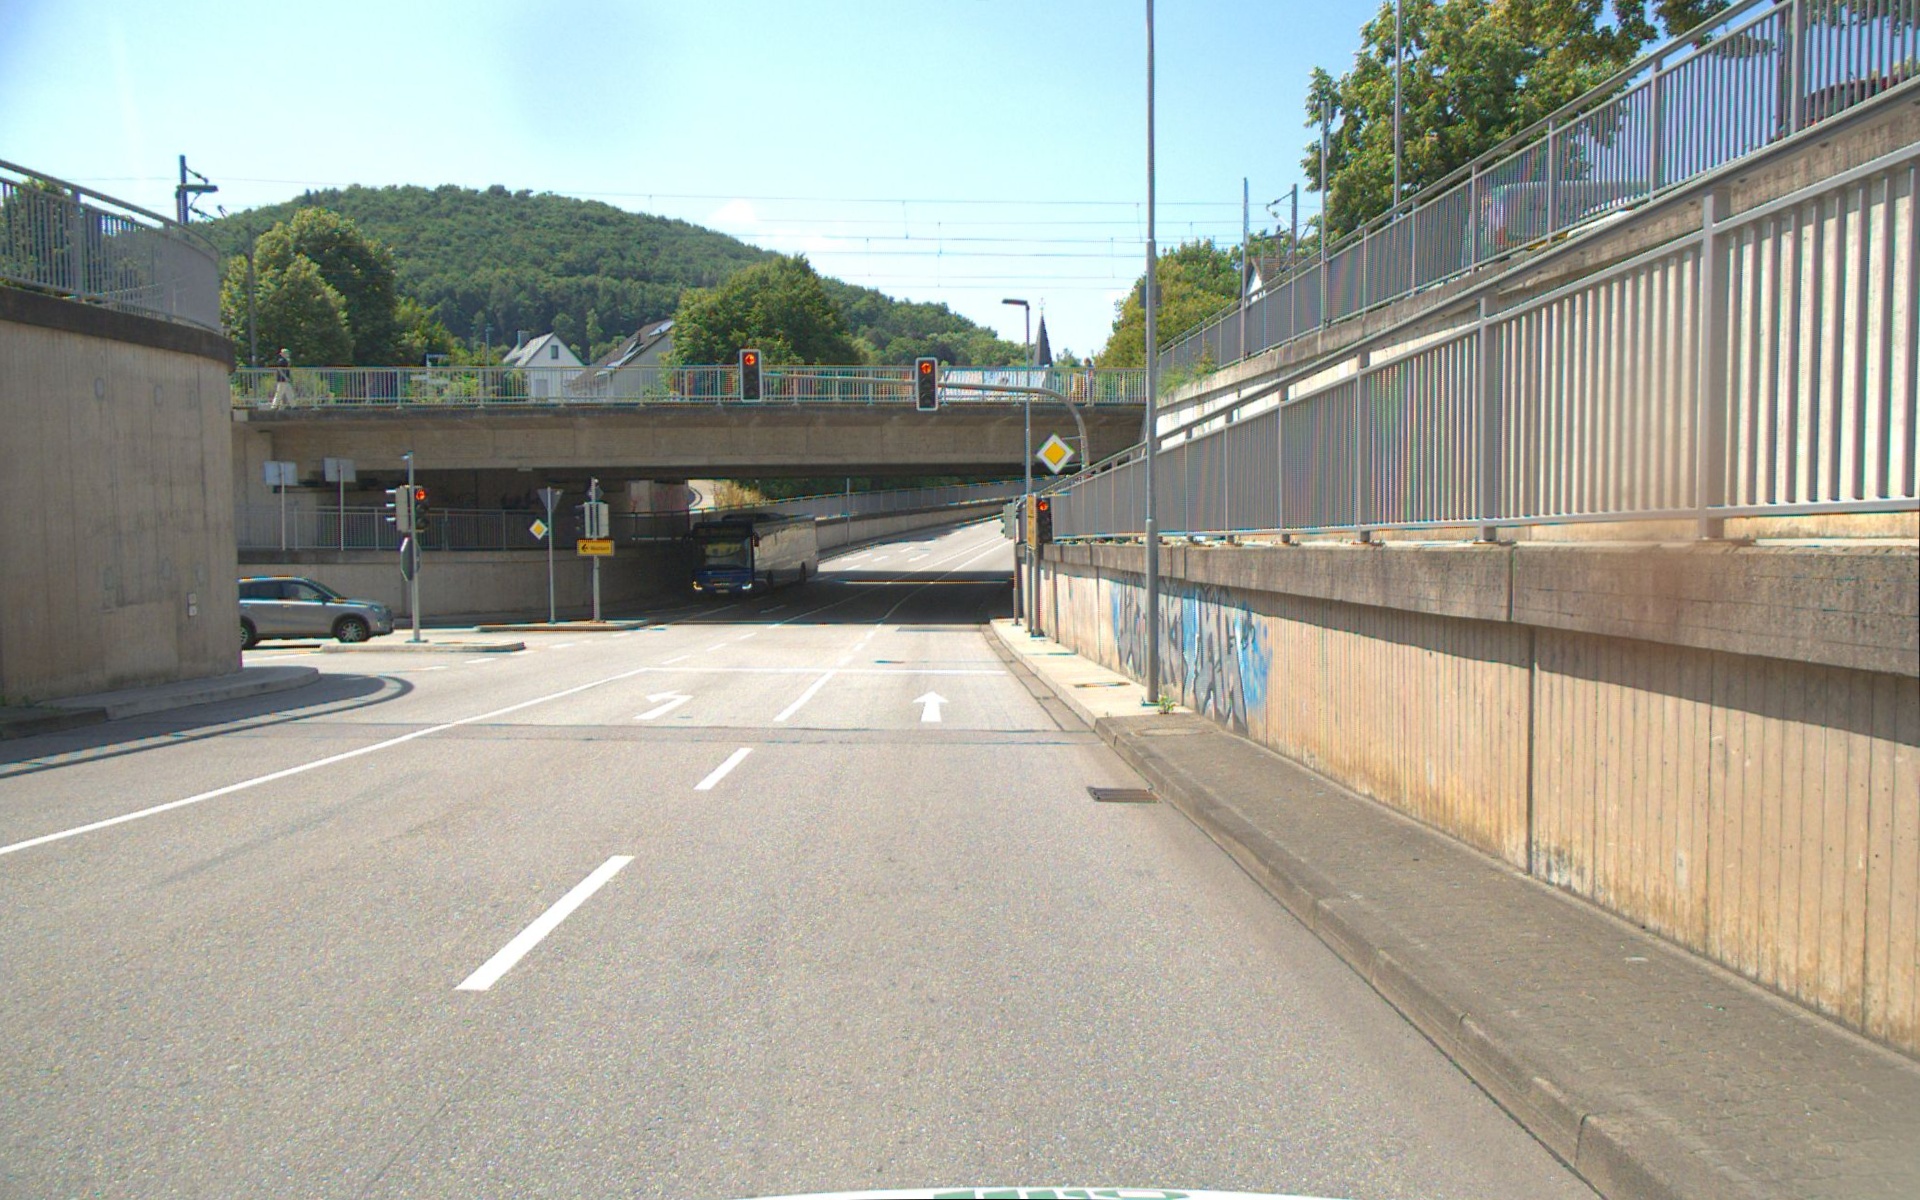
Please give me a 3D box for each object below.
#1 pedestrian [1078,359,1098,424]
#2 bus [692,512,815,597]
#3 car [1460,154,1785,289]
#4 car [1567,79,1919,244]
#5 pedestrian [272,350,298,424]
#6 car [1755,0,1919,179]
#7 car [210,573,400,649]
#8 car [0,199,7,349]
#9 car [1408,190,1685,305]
[{"bbox_3d":[4.266,-6.938,55.072,0.529,2.117,0.534,-1,1,-8],"label":"pedestrian"},{"bbox_3d":[-8.421,-2.059,69.270,2.526,3.227,12.388,0,3,5],"label":"bus"},{"bbox_3d":[9.278,-5.312,23.387,3.904,1.512,1.770,0,1,2],"label":"car"},{"bbox_3d":[9.524,-5.199,19.776,3.904,1.512,1.770,0,1,2],"label":"car"},{"bbox_3d":[-19.868,-6.258,48.671,0.566,2.117,0.533,-1,1,-12],"label":"pedestrian"},{"bbox_3d":[9.799,-4.950,15.449,3.904,1.594,1.770,0,1,2],"label":"car"},{"bbox_3d":[-15.346,0.231,38.953,3.919,1.646,1.804,-1,3,-14],"label":"car"},{"bbox_3d":[-11.816,-3.633,16.964,1.864,1.696,3.999,0,3,-3],"label":"car"},{"bbox_3d":[9.489,-5.719,26.986,3.904,1.512,1.770,0,1,2],"label":"car"}]
